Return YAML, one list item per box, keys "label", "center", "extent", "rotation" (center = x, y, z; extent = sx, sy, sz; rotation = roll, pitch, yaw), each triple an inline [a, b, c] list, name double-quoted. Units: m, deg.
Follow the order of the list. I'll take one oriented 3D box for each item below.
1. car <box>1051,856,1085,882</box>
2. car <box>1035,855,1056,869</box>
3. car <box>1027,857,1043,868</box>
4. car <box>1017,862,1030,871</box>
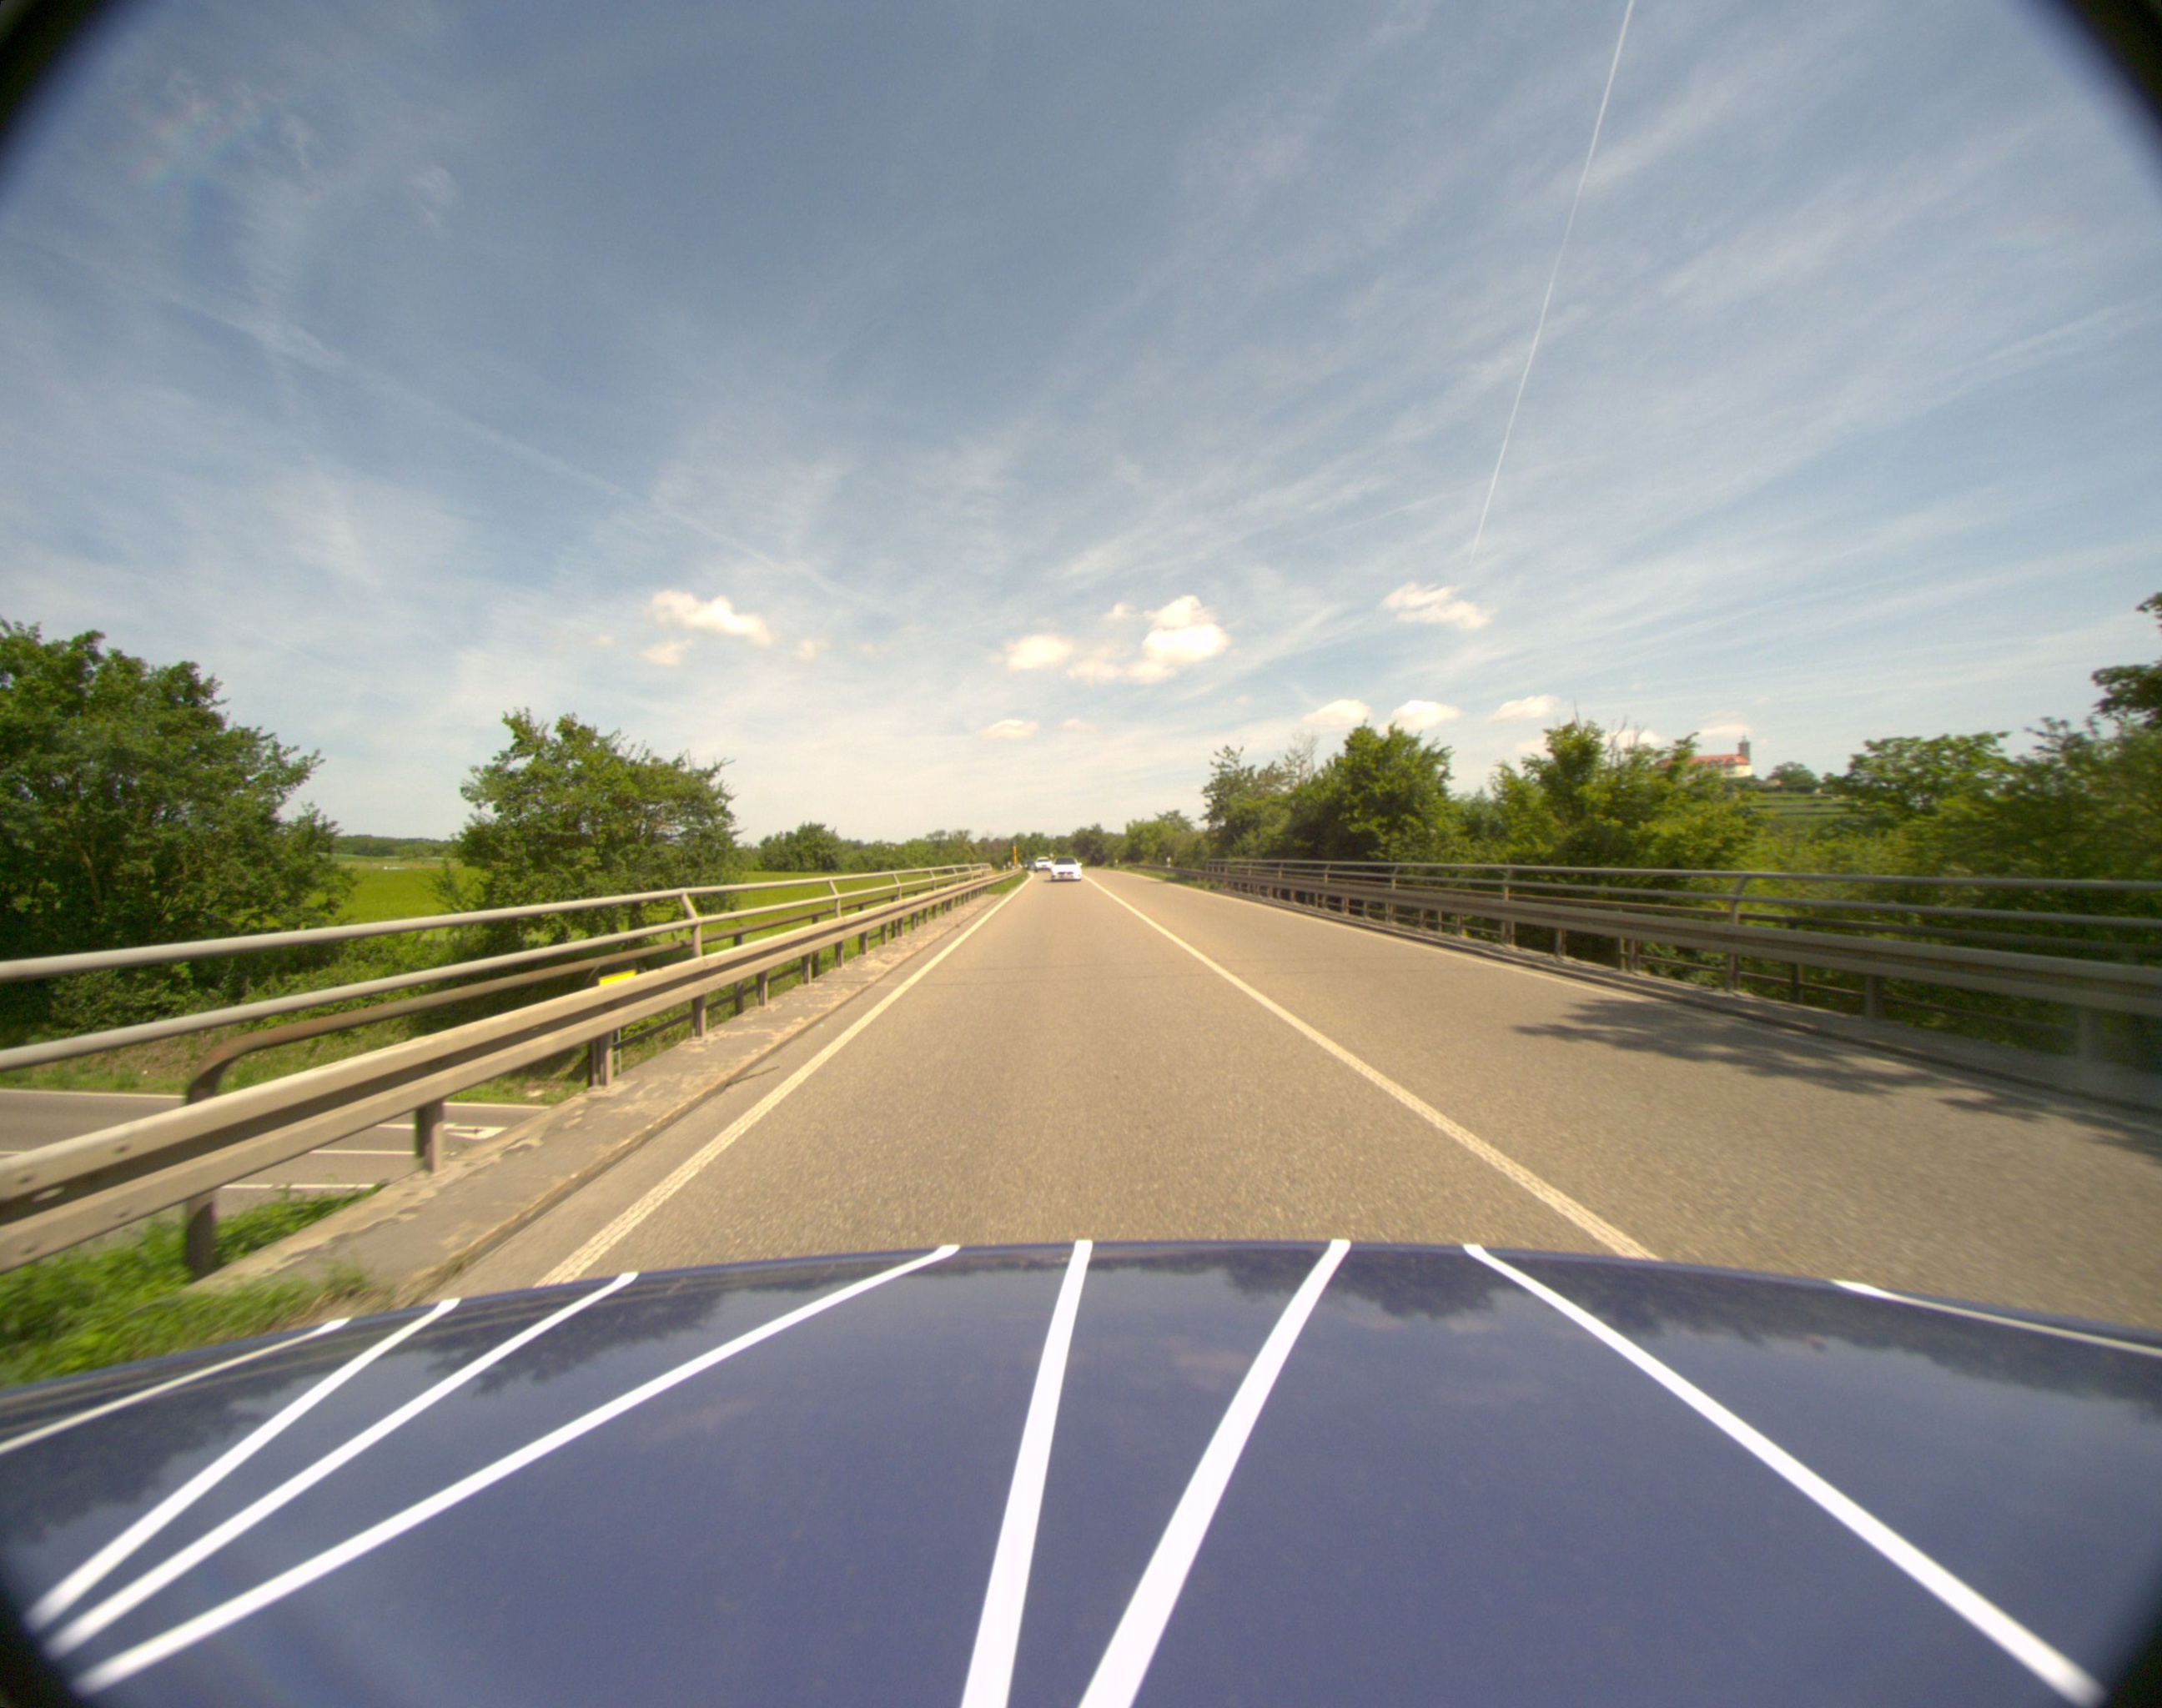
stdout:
- label: "car"
  center: [-0.847, 0.873, 46.943]
  extent: [1.930, 1.441, 4.533]
  rotation: [-2, 1, -3]
- label: "car"
  center: [-3.781, 0.842, 80.871]
  extent: [1.930, 1.441, 3.998]
  rotation: [-3, 0, -5]
- label: "car"
  center: [-6.305, 1.175, 103.489]
  extent: [1.930, 1.441, 4.074]
  rotation: [-1, 0, -6]
- label: "car"
  center: [-9.374, 1.999, 122.818]
  extent: [1.930, 1.441, 3.997]
  rotation: [-1, 0, -6]
